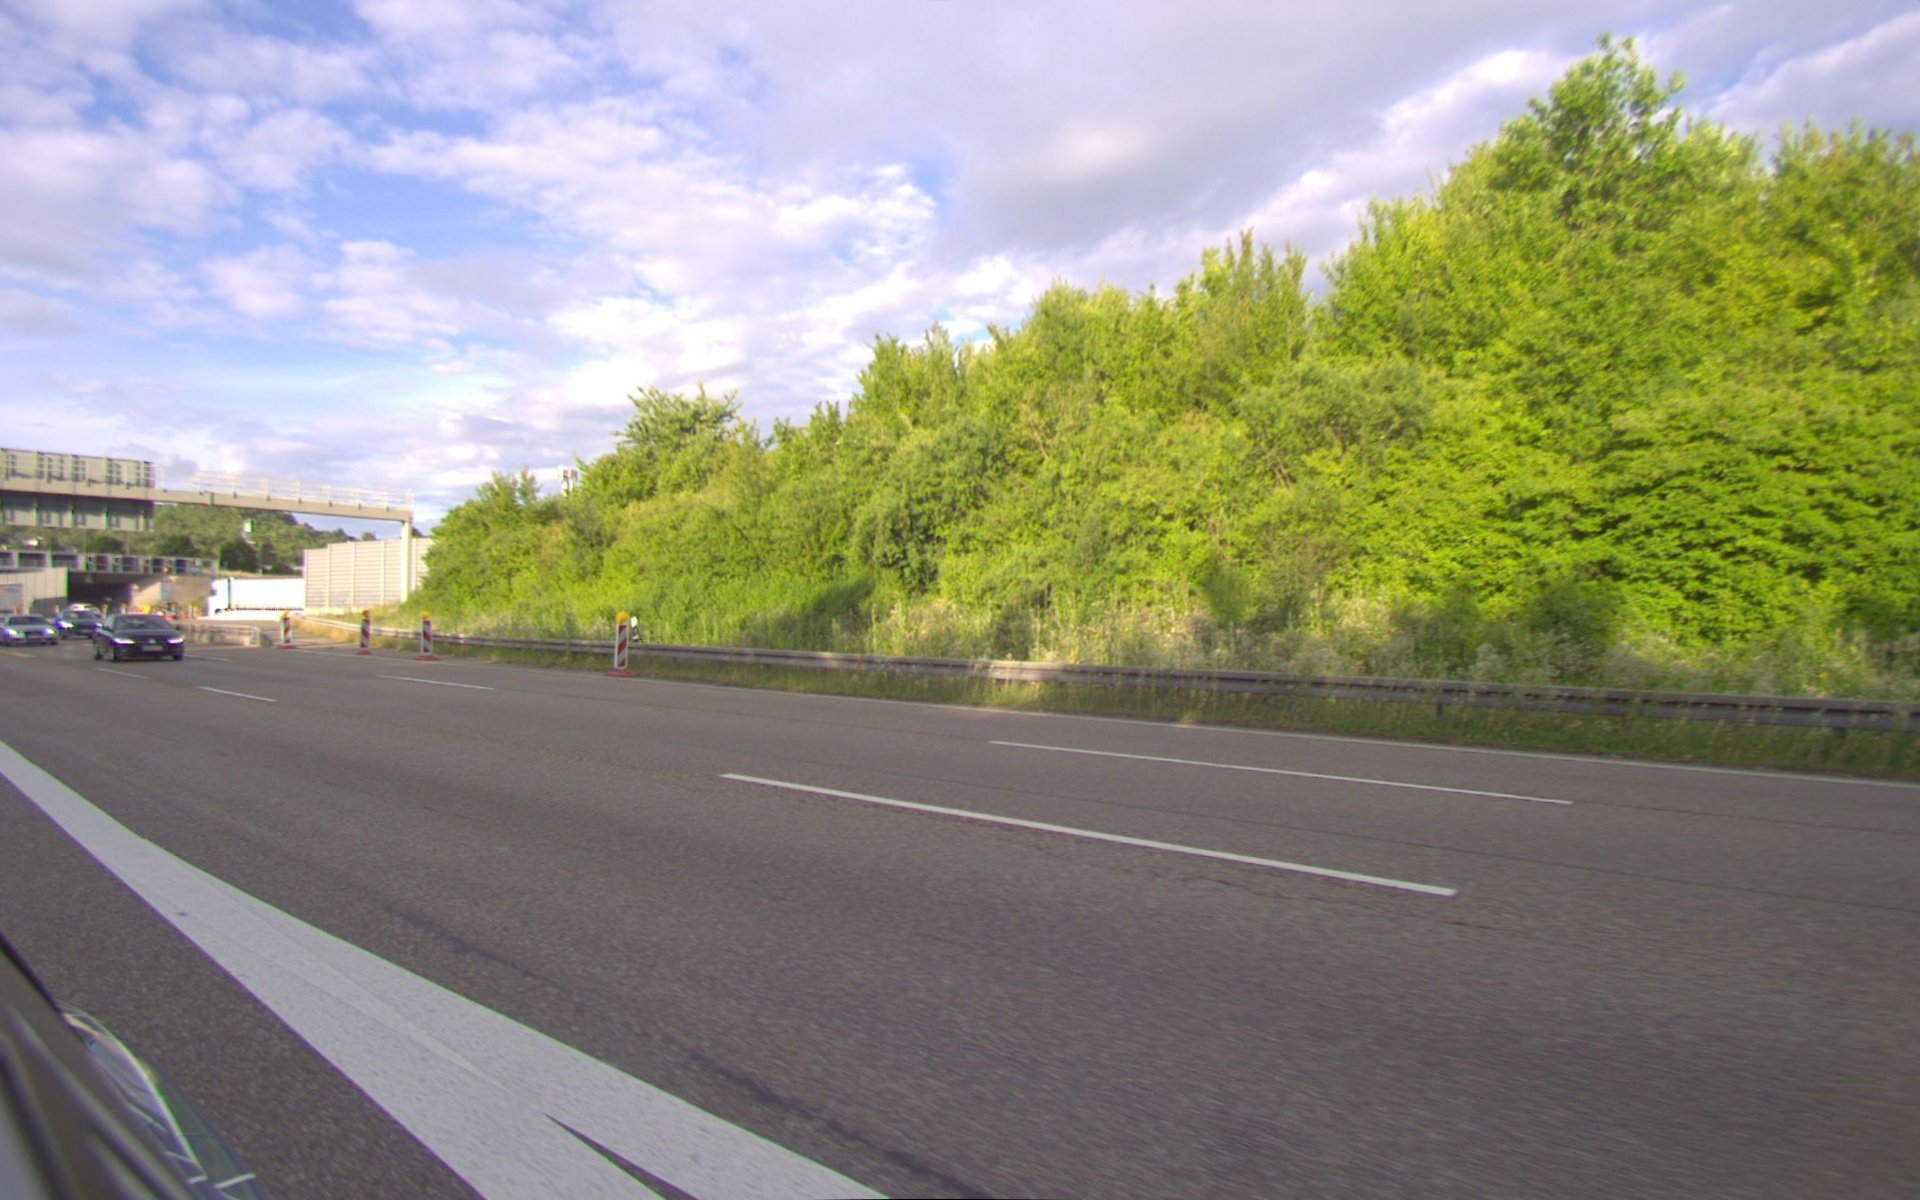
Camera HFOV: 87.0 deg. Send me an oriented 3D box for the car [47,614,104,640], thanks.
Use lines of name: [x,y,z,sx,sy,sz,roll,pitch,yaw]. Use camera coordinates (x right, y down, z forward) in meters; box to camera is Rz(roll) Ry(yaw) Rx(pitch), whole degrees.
car: [-47.905,1.435,54.790,3.998,1.301,1.856,-1,-1,41]

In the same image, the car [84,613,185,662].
car: [-25.209,1.104,30.866,3.998,1.417,1.739,-1,-1,41]

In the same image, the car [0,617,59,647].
car: [-42.499,1.410,46.012,3.998,1.301,1.774,-1,-1,41]
